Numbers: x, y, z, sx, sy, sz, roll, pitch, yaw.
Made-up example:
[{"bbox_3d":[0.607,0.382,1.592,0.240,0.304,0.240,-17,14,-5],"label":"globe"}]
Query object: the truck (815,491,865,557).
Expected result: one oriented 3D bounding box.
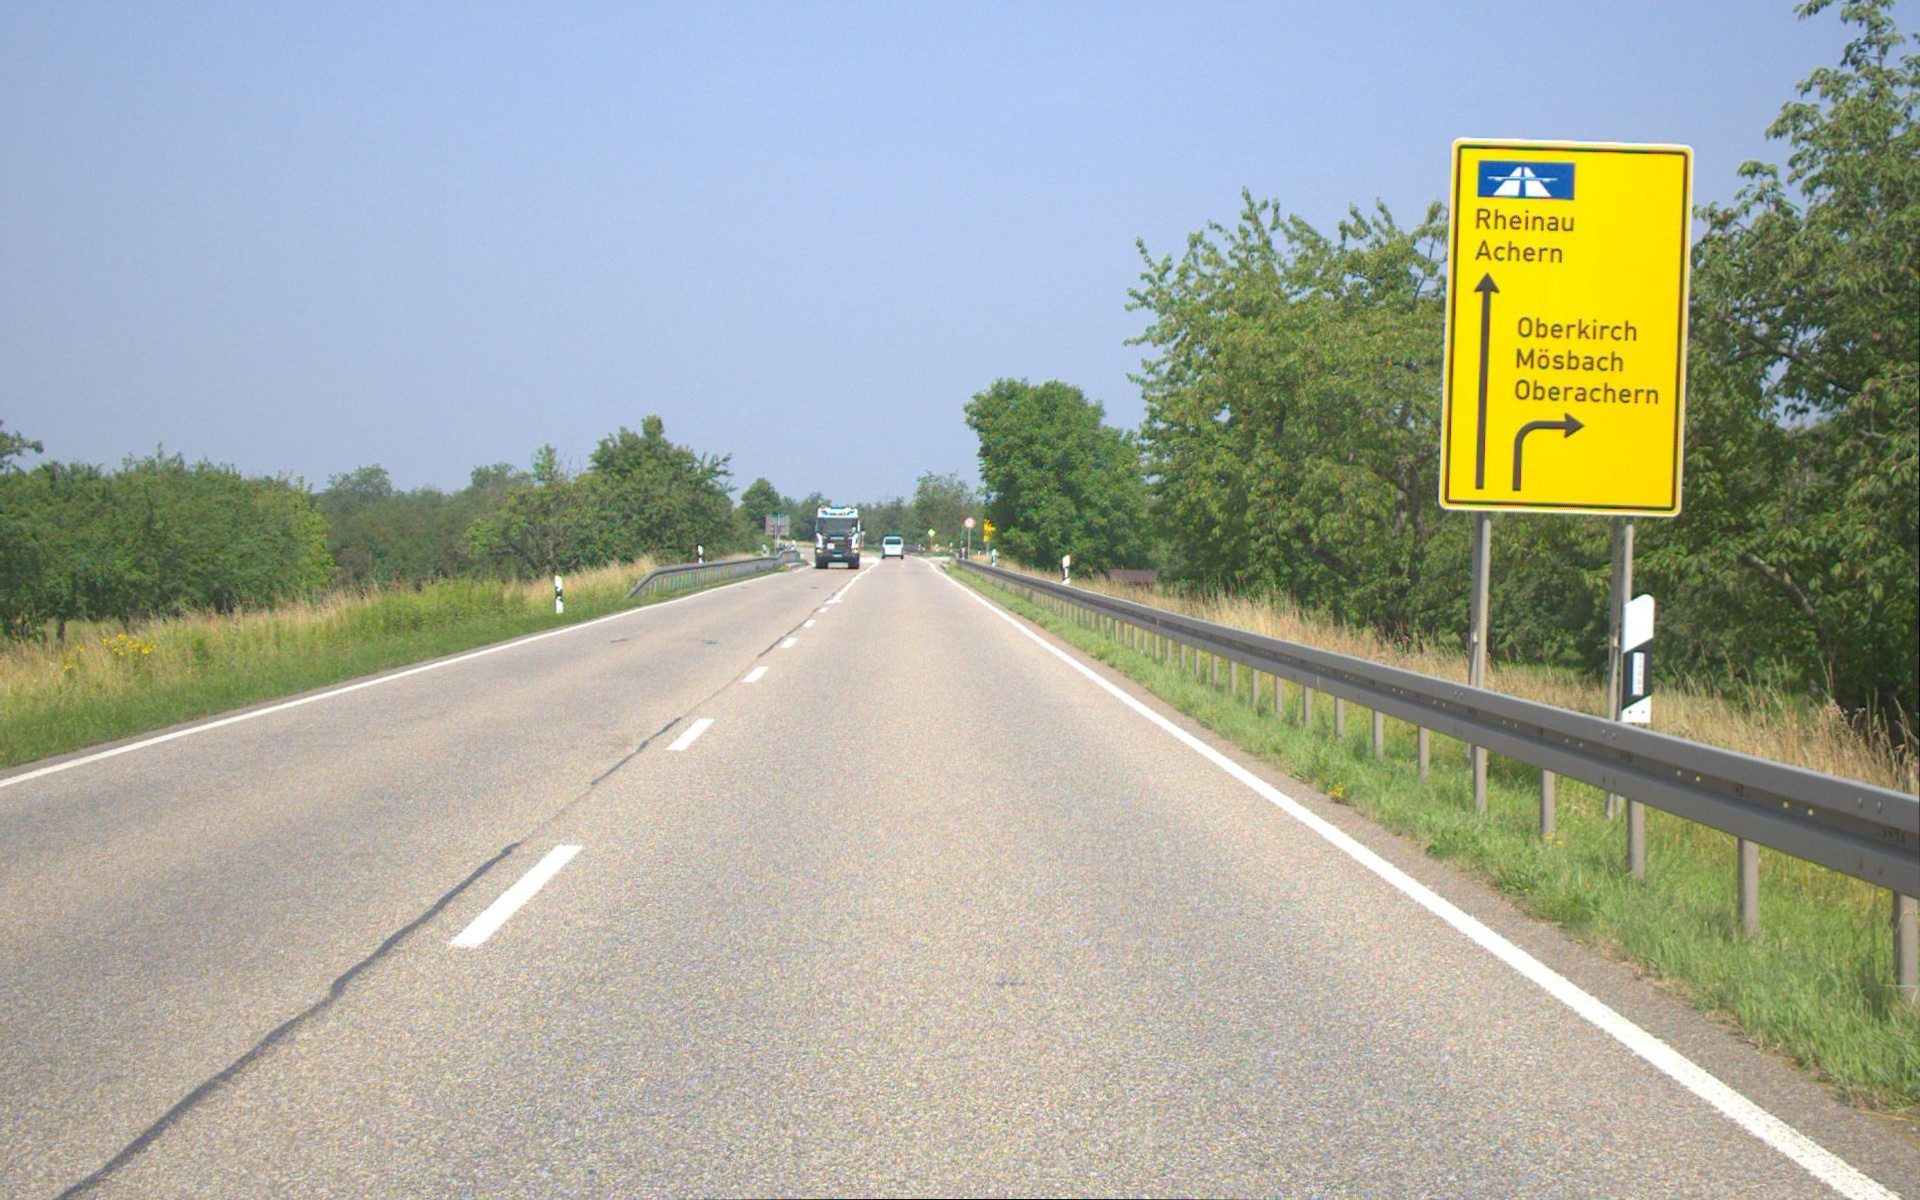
[{"bbox_3d":[-6.877,-4.336,198.456,2.728,3.659,9.384,1,1,-1],"label":"truck"}]
